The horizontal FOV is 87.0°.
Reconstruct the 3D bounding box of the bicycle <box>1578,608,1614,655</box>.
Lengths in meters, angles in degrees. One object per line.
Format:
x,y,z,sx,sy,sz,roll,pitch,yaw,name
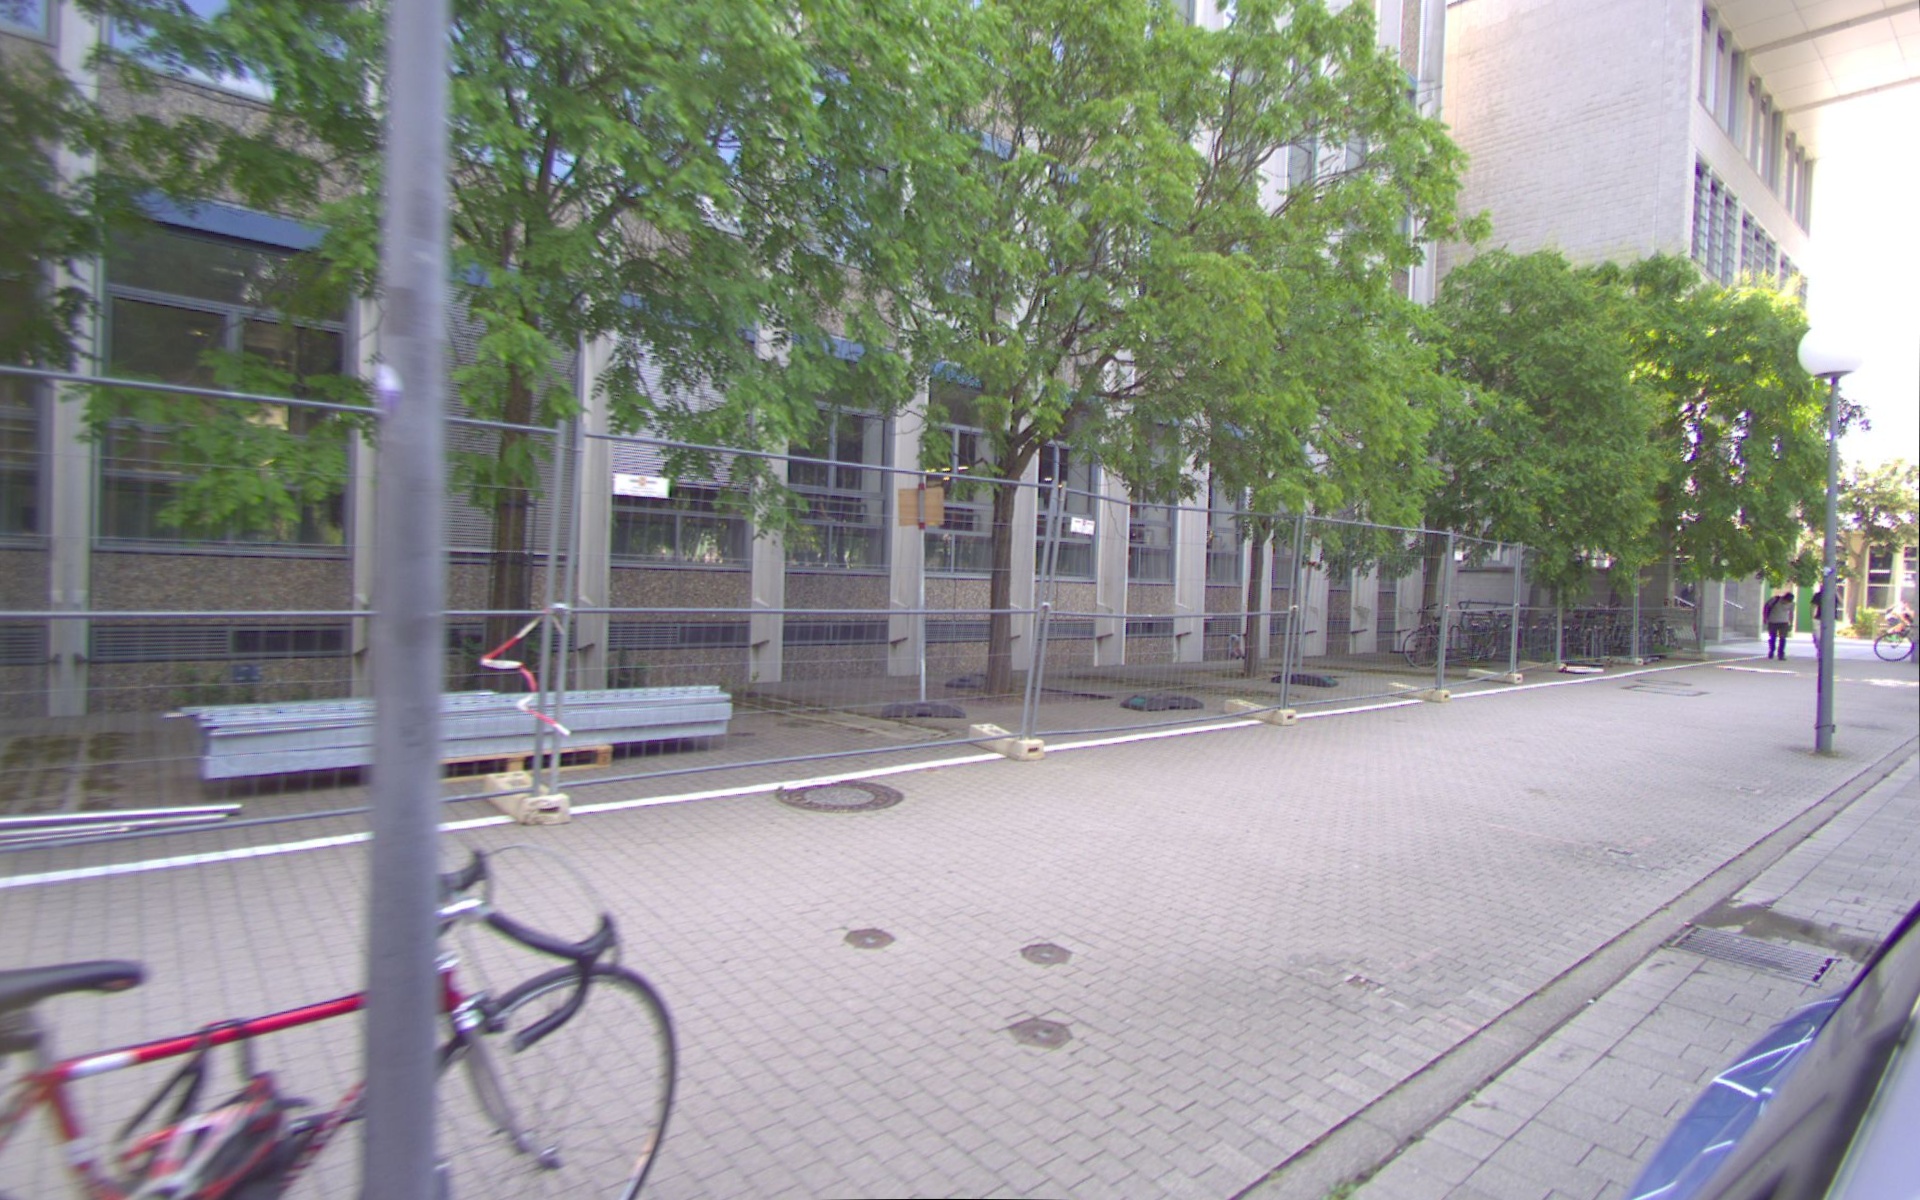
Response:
13.020,0.629,20.706,1.424,0.917,0.291,0,1,-45,bicycle

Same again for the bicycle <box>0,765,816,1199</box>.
-1.051,0.841,1.473,1.702,0.947,0.396,0,3,-42,bicycle

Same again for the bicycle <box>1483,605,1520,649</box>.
11.774,0.566,21.985,1.424,0.917,0.291,0,1,-45,bicycle

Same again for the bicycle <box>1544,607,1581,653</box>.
12.566,0.607,21.106,1.424,0.917,0.291,0,1,-45,bicycle

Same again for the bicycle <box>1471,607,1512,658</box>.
10.215,0.601,19.431,0.290,0.917,1.778,2,1,40,bicycle

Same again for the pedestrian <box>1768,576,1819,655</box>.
18.423,0.333,22.378,0.697,1.676,0.873,2,1,31,pedestrian

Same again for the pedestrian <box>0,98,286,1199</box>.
-1.706,0.264,1.346,0.777,1.868,1.108,0,0,25,pedestrian

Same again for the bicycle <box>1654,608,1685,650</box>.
15.898,0.635,22.661,1.424,0.917,0.291,0,1,-45,bicycle

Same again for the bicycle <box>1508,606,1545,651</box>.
12.099,0.590,21.595,1.424,0.917,0.291,0,1,-45,bicycle

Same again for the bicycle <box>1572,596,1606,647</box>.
14.099,0.475,22.663,1.424,1.108,0.291,0,1,-45,bicycle

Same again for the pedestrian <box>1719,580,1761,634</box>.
24.511,0.207,31.816,0.798,1.637,0.736,2,1,21,pedestrian

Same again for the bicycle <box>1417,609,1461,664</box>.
8.585,0.638,18.108,0.290,0.917,1.595,2,1,40,bicycle

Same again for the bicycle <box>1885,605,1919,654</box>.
21.632,0.687,22.342,0.442,1.052,1.740,2,1,-45,bicycle

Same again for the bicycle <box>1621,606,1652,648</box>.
15.562,0.604,23.283,1.424,0.917,0.291,0,1,-45,bicycle

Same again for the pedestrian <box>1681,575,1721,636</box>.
22.894,0.156,31.272,0.956,1.837,0.759,0,0,41,pedestrian

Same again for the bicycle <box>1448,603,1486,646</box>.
11.307,0.541,22.563,1.424,0.917,0.291,0,1,-45,bicycle

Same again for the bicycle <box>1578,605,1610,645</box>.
15.007,0.584,23.954,1.424,0.917,0.291,0,1,-45,bicycle

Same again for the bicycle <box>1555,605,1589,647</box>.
13.865,0.576,22.927,1.424,0.898,0.291,0,1,-45,bicycle

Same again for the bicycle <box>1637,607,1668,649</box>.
15.688,0.618,22.926,1.424,0.917,0.291,0,1,-45,bicycle

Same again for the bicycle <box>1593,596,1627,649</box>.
14.389,0.488,22.396,1.424,1.142,0.291,0,1,-45,bicycle

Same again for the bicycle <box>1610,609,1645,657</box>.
13.434,0.656,20.357,1.424,0.917,0.291,0,1,-45,bicycle

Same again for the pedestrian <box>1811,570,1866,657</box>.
18.892,0.276,21.771,0.697,1.825,0.873,2,1,31,pedestrian
